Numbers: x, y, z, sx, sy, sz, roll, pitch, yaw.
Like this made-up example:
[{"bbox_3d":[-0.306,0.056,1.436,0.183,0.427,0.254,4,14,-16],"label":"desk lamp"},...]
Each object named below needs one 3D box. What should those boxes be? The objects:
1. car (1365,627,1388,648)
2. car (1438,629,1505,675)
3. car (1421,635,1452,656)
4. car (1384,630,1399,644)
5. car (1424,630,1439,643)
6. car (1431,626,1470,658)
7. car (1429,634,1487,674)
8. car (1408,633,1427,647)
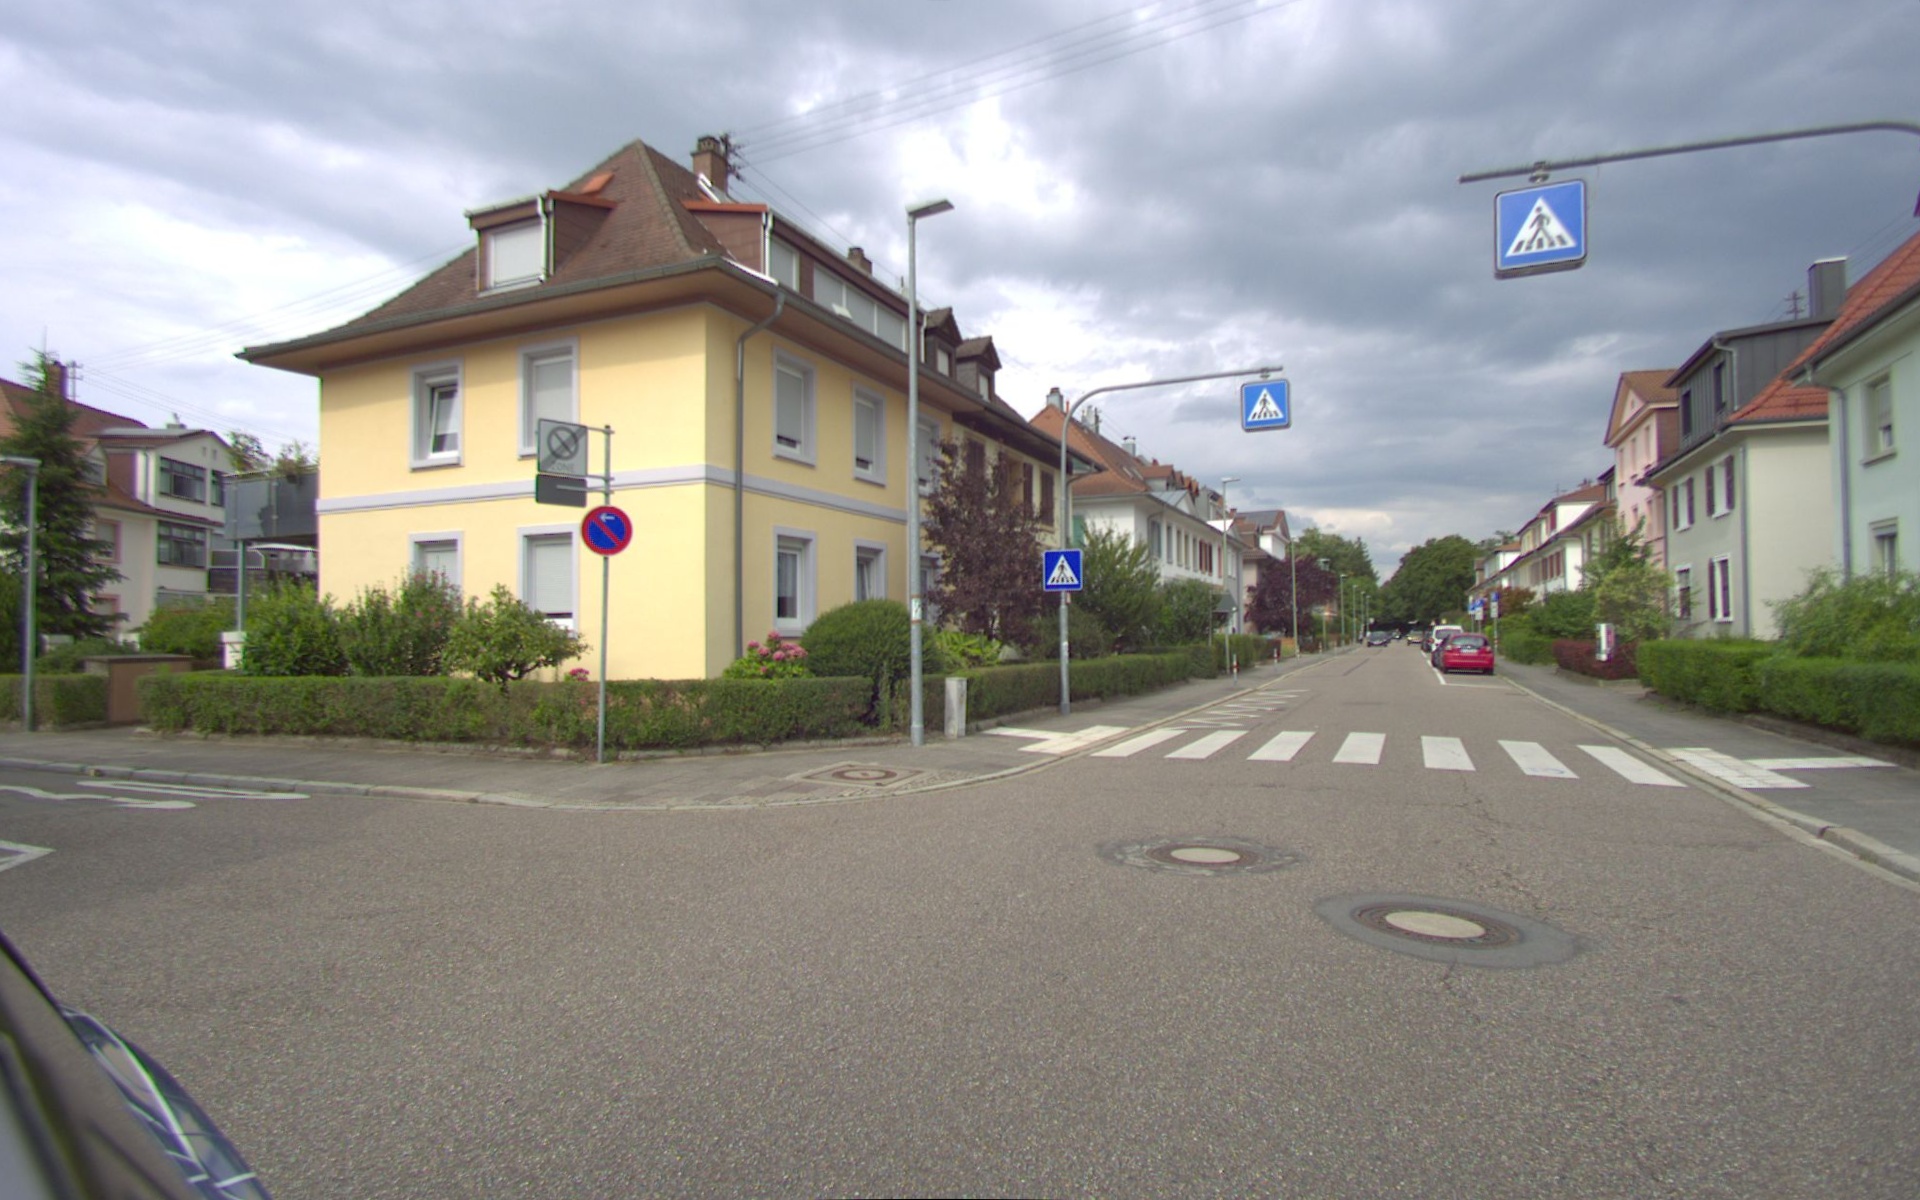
[{"bbox_3d":[41.837,3.740,101.676,1.988,2.029,3.967,-1,-2,24],"label":"car"},{"bbox_3d":[19.011,1.914,37.769,1.988,1.586,3.967,-1,-2,24],"label":"car"},{"bbox_3d":[36.534,3.485,77.659,1.988,1.586,3.967,-1,-2,24],"label":"car"},{"bbox_3d":[59.642,5.080,139.969,1.801,1.894,3.916,-2,-2,24],"label":"car"},{"bbox_3d":[74.344,5.760,159.563,1.988,2.029,3.967,0,-2,24],"label":"car"},{"bbox_3d":[30.587,2.597,63.202,1.988,1.918,3.967,-1,-2,24],"label":"car"},{"bbox_3d":[20.903,2.239,42.598,1.988,1.586,3.967,-1,-2,24],"label":"car"},{"bbox_3d":[50.518,4.411,111.748,1.825,1.497,3.969,0,-2,23],"label":"car"}]
